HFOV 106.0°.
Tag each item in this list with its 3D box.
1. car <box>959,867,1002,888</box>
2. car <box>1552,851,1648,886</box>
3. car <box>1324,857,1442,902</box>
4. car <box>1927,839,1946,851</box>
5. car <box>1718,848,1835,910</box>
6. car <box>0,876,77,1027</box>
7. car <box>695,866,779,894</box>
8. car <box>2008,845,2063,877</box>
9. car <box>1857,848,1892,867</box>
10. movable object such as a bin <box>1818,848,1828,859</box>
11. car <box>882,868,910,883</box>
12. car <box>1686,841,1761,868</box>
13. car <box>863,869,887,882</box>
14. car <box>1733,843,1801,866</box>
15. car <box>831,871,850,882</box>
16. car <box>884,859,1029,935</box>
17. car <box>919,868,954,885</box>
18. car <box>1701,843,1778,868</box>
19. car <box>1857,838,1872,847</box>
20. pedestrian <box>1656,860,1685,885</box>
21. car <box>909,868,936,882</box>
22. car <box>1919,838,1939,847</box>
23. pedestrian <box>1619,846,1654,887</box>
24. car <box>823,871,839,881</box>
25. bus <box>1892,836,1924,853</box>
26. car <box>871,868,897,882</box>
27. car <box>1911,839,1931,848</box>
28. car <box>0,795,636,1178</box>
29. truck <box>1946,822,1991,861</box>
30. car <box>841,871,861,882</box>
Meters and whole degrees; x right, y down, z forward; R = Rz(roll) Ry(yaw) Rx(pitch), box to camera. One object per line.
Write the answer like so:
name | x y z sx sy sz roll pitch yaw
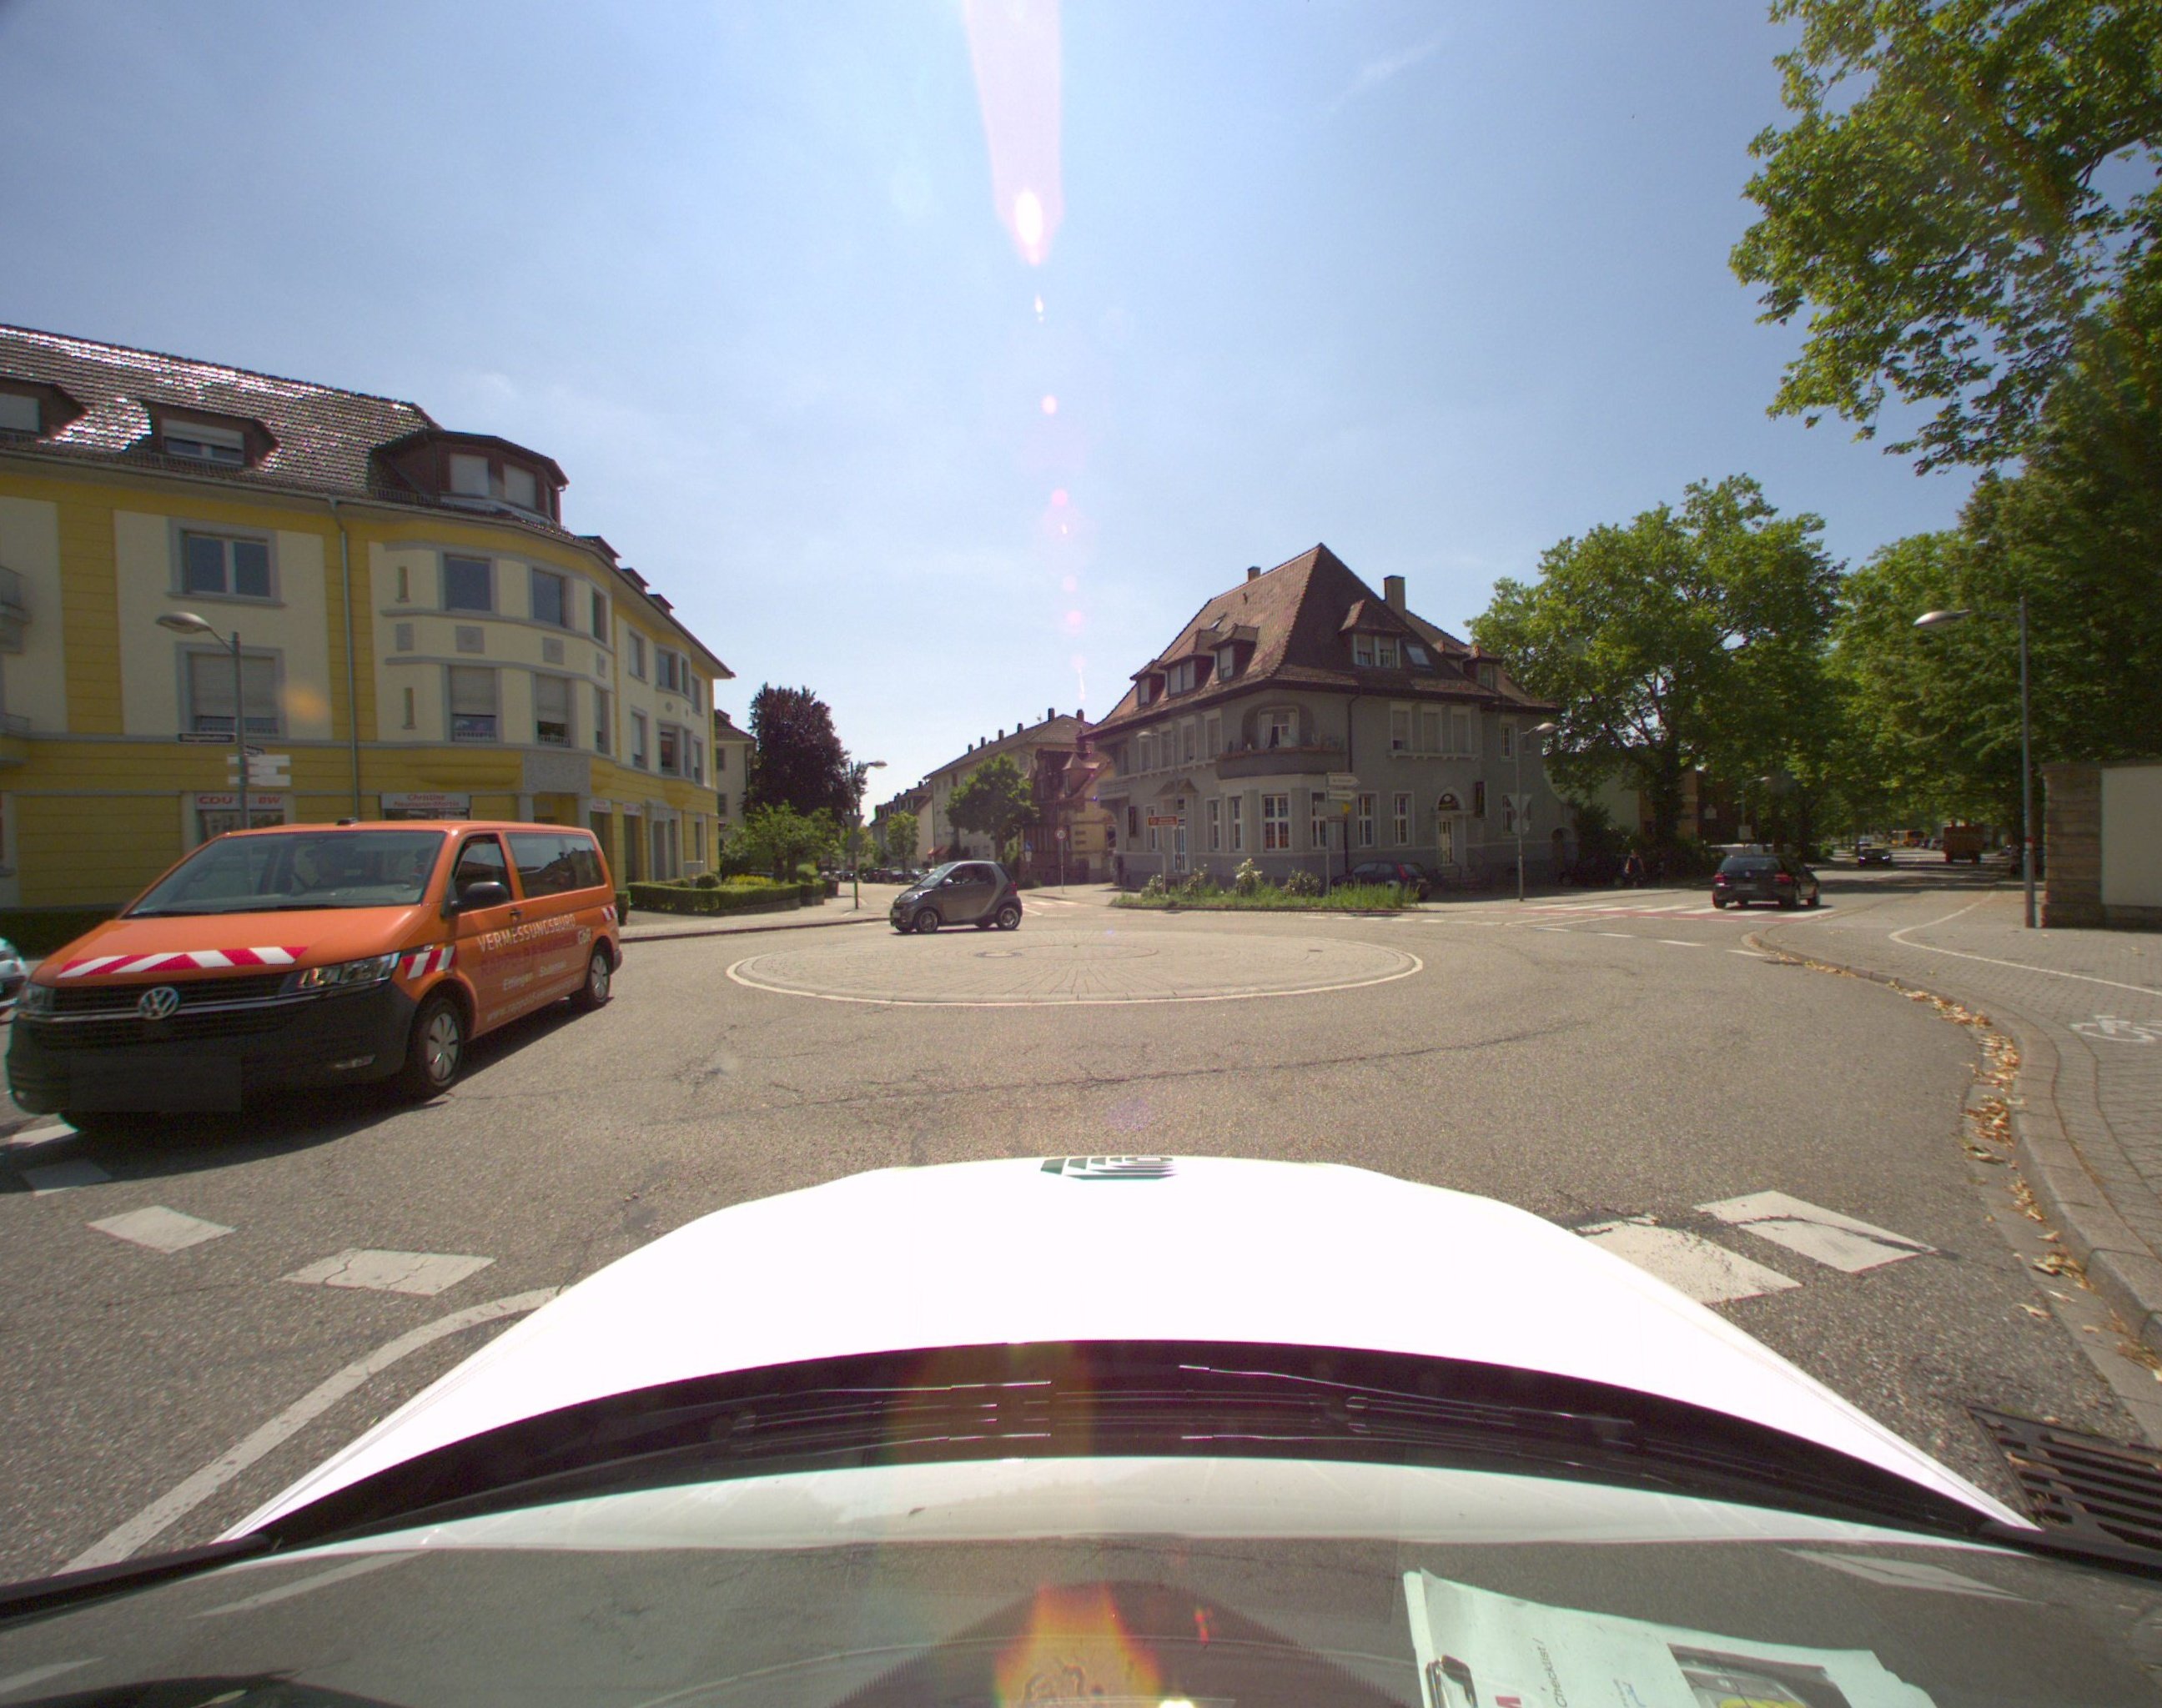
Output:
car | -7.827 1.786 63.157 2.004 1.509 4.381 -1 -1 -26
car | 24.195 0.655 38.042 1.729 1.546 3.360 -1 -1 -30
car | 10.791 0.891 29.323 1.729 1.460 3.756 -1 -1 -30
car | 132.734 -1.358 126.329 1.862 1.686 4.023 -1 -2 45
car | 18.473 0.610 21.564 4.079 1.447 1.696 -1 -1 -40
car | -13.133 1.031 7.854 4.154 1.525 1.653 0 0 -14
car | -20.847 1.565 49.341 4.434 1.509 1.980 -1 -1 -32
car | 51.389 0.351 43.799 4.804 1.557 1.726 -2 -2 -39
car | 61.916 0.251 63.496 4.417 1.426 1.753 0 -1 -44
movable object such as a bin | 71.632 -0.003 78.624 0.623 1.048 0.619 -1 0 -34
car | -19.933 2.327 87.712 2.004 1.509 4.381 -1 -1 -26
car | 45.548 -0.001 57.806 1.878 1.792 3.952 0 1 -43
car | -24.833 2.541 98.069 2.004 1.509 4.381 -1 -1 -26
car | 56.979 -0.010 67.694 1.914 1.804 4.092 0 1 -43
car | -36.059 3.336 122.196 2.004 1.509 4.381 -1 -1 -26
car | -2.761 0.903 18.067 2.796 1.530 1.555 -1 -1 -29
car | -13.241 2.031 74.330 2.004 1.509 4.381 -1 -1 -26
car | 50.679 0.088 62.773 1.914 1.804 4.384 0 1 -43
car | 148.780 -2.138 154.694 1.975 1.666 4.024 -1 -2 43
pedestrian | 26.521 0.823 36.649 0.900 1.122 0.749 0 -1 -31
car | -18.050 2.425 92.704 2.004 1.509 4.381 -1 -1 -26
car | 140.504 -1.947 134.935 1.749 1.374 3.753 -3 -2 37
pedestrian | 23.777 0.522 34.847 1.117 1.742 0.865 0 -1 -34
car | -40.509 3.573 131.919 2.003 1.488 3.967 0 -1 -25
bus | 155.933 -1.727 153.692 2.637 3.151 11.268 -2 -1 37
car | -22.556 2.443 93.311 2.004 1.509 4.381 -1 -1 -26
car | 145.651 -1.779 141.247 1.749 1.374 3.753 -3 -2 38
car | -5.609 0.652 6.795 1.946 1.959 4.999 -2 1 -13
truck | 76.974 -1.021 70.580 5.798 3.134 2.350 1 -2 -40
car | -33.003 3.151 116.736 2.004 1.509 4.381 -1 -1 -26
